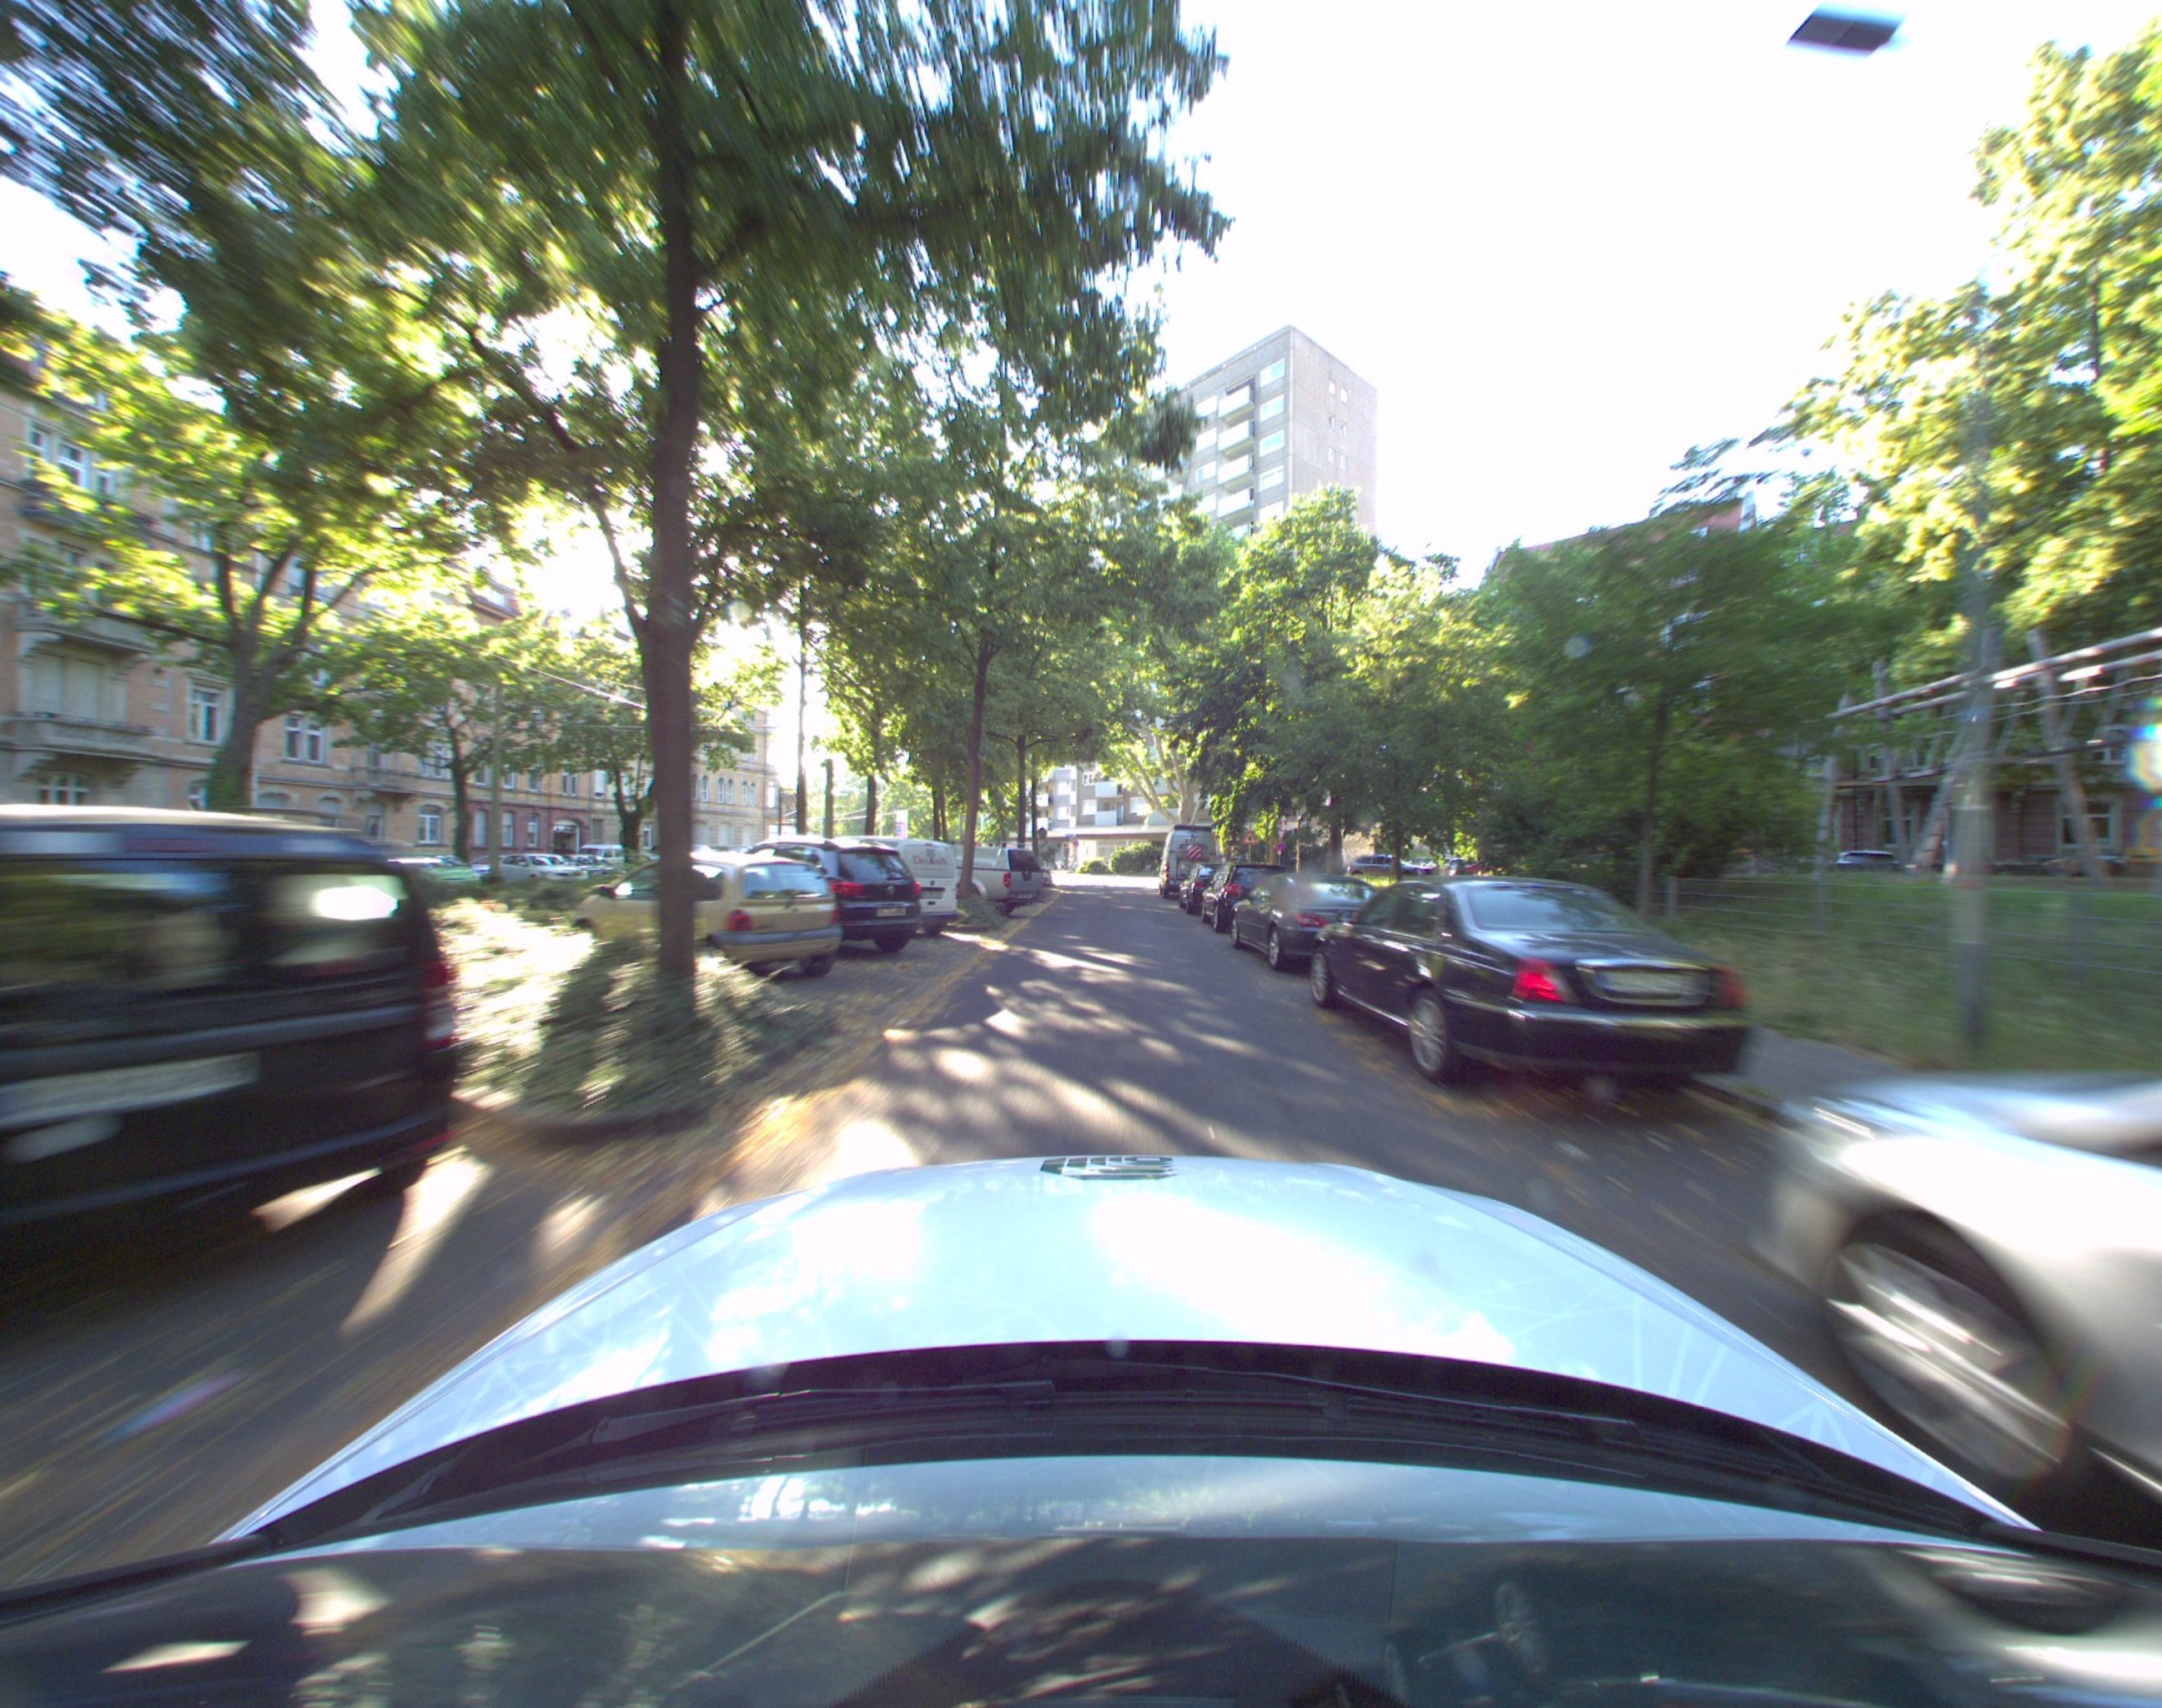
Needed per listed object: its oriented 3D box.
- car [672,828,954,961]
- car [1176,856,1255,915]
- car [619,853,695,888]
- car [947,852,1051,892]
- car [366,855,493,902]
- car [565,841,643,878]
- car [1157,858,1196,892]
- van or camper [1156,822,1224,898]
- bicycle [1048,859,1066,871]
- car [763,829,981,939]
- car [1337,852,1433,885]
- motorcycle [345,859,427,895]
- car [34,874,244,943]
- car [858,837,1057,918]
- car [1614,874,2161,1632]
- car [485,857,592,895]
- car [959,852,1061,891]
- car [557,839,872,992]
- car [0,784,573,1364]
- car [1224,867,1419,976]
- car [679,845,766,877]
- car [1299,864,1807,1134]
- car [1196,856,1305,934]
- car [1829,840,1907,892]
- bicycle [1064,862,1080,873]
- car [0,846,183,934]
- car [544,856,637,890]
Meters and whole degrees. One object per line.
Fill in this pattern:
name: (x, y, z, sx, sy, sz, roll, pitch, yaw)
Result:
car: (-4.231, 0.536, 12.697, 4.108, 1.644, 1.927, 3, 0, 32)
car: (3.782, 0.817, 23.579, 1.674, 1.526, 4.491, 1, 0, 2)
car: (-21.148, 0.790, 40.615, 3.604, 1.640, 1.671, 0, 0, 30)
car: (-3.438, 0.744, 34.140, 3.825, 1.439, 1.842, 3, 0, 26)
car: (-20.737, 0.742, 25.917, 3.692, 1.381, 1.718, 0, 0, 26)
car: (-29.299, 0.307, 50.255, 1.846, 2.063, 4.998, 3, 1, -1)
car: (4.571, 0.974, 39.500, 1.673, 1.446, 3.876, 3, 0, 5)
van or camper: (4.237, 0.225, 32.551, 2.076, 2.762, 5.847, 1, 0, 2)
bicycle: (-2.118, 0.992, 71.552, 0.642, 1.022, 2.068, 0, 0, -29)
car: (-4.148, 0.506, 15.919, 4.107, 1.781, 1.895, 3, 0, 37)
car: (15.315, 0.728, 41.184, 1.752, 1.552, 4.224, 5, -4, -43)
motorcycle: (-19.342, 0.619, 22.671, 1.707, 0.955, 1.025, 0, 0, 20)
car: (-28.667, 1.591, 25.016, 1.789, 1.775, 3.997, -2, 0, -2)
car: (-3.327, 0.572, 21.740, 4.940, 1.781, 1.999, 3, 0, 28)
car: (3.000, 0.810, 1.146, 1.677, 1.454, 4.070, 1, 0, -4)
car: (-20.695, 0.805, 31.069, 3.692, 1.381, 1.737, 0, 0, 25)
car: (-3.202, 0.773, 36.672, 4.149, 1.439, 1.842, 3, 0, 26)
car: (-4.486, 0.642, 9.933, 3.384, 1.425, 1.845, 3, 0, 31)
car: (-4.647, 0.525, 3.834, 4.462, 1.616, 1.865, 3, 0, 30)
car: (3.384, 0.883, 12.310, 1.675, 1.283, 4.286, 1, 0, 0)
car: (-20.726, 0.395, 47.021, 4.775, 1.764, 2.098, 0, 0, 28)
car: (3.236, 0.827, 6.839, 1.674, 1.424, 4.660, 1, 0, 1)
car: (3.657, 0.819, 18.232, 1.674, 1.526, 4.289, 1, 0, 2)
car: (27.005, 0.448, 27.903, 4.425, 1.493, 1.764, 5, -3, -44)
bicycle: (-0.741, 1.183, 69.665, 0.546, 0.904, 1.718, 0, 0, -33)
car: (-20.247, 0.649, 16.289, 3.950, 1.578, 2.012, 0, 0, 26)
car: (-20.842, 0.776, 34.550, 4.234, 1.381, 1.604, 0, 0, 31)
